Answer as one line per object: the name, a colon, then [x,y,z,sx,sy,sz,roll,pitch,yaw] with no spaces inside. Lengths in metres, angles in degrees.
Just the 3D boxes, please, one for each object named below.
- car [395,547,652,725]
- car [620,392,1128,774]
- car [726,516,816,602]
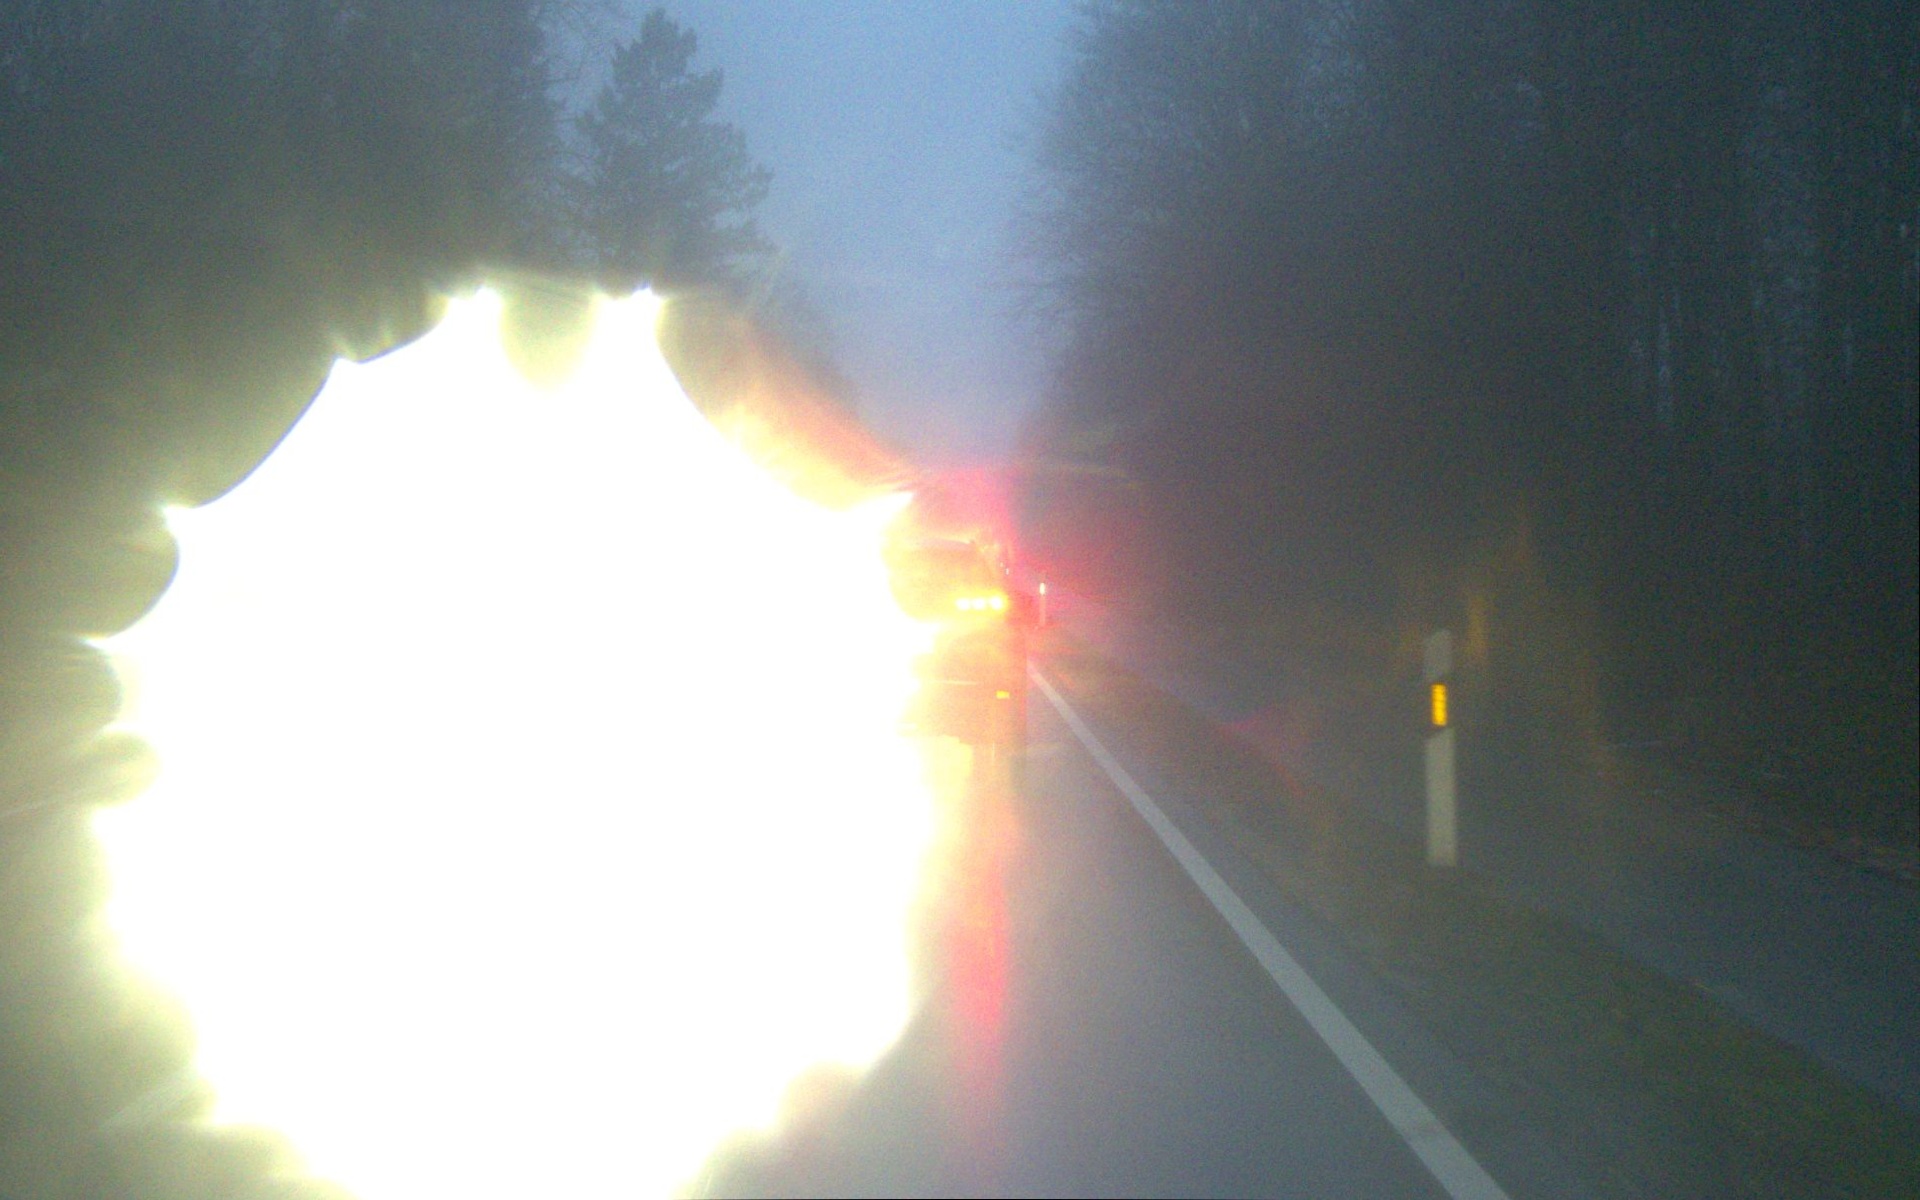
car: [-4.214,0.306,33.789,2.075,1.610,4.152,-1,1,-1]
car: [-0.535,-0.159,25.074,3.183,2.378,6.636,1,1,0]
car: [-4.663,-1.031,85.289,2.006,1.982,5.032,-2,1,-1]
